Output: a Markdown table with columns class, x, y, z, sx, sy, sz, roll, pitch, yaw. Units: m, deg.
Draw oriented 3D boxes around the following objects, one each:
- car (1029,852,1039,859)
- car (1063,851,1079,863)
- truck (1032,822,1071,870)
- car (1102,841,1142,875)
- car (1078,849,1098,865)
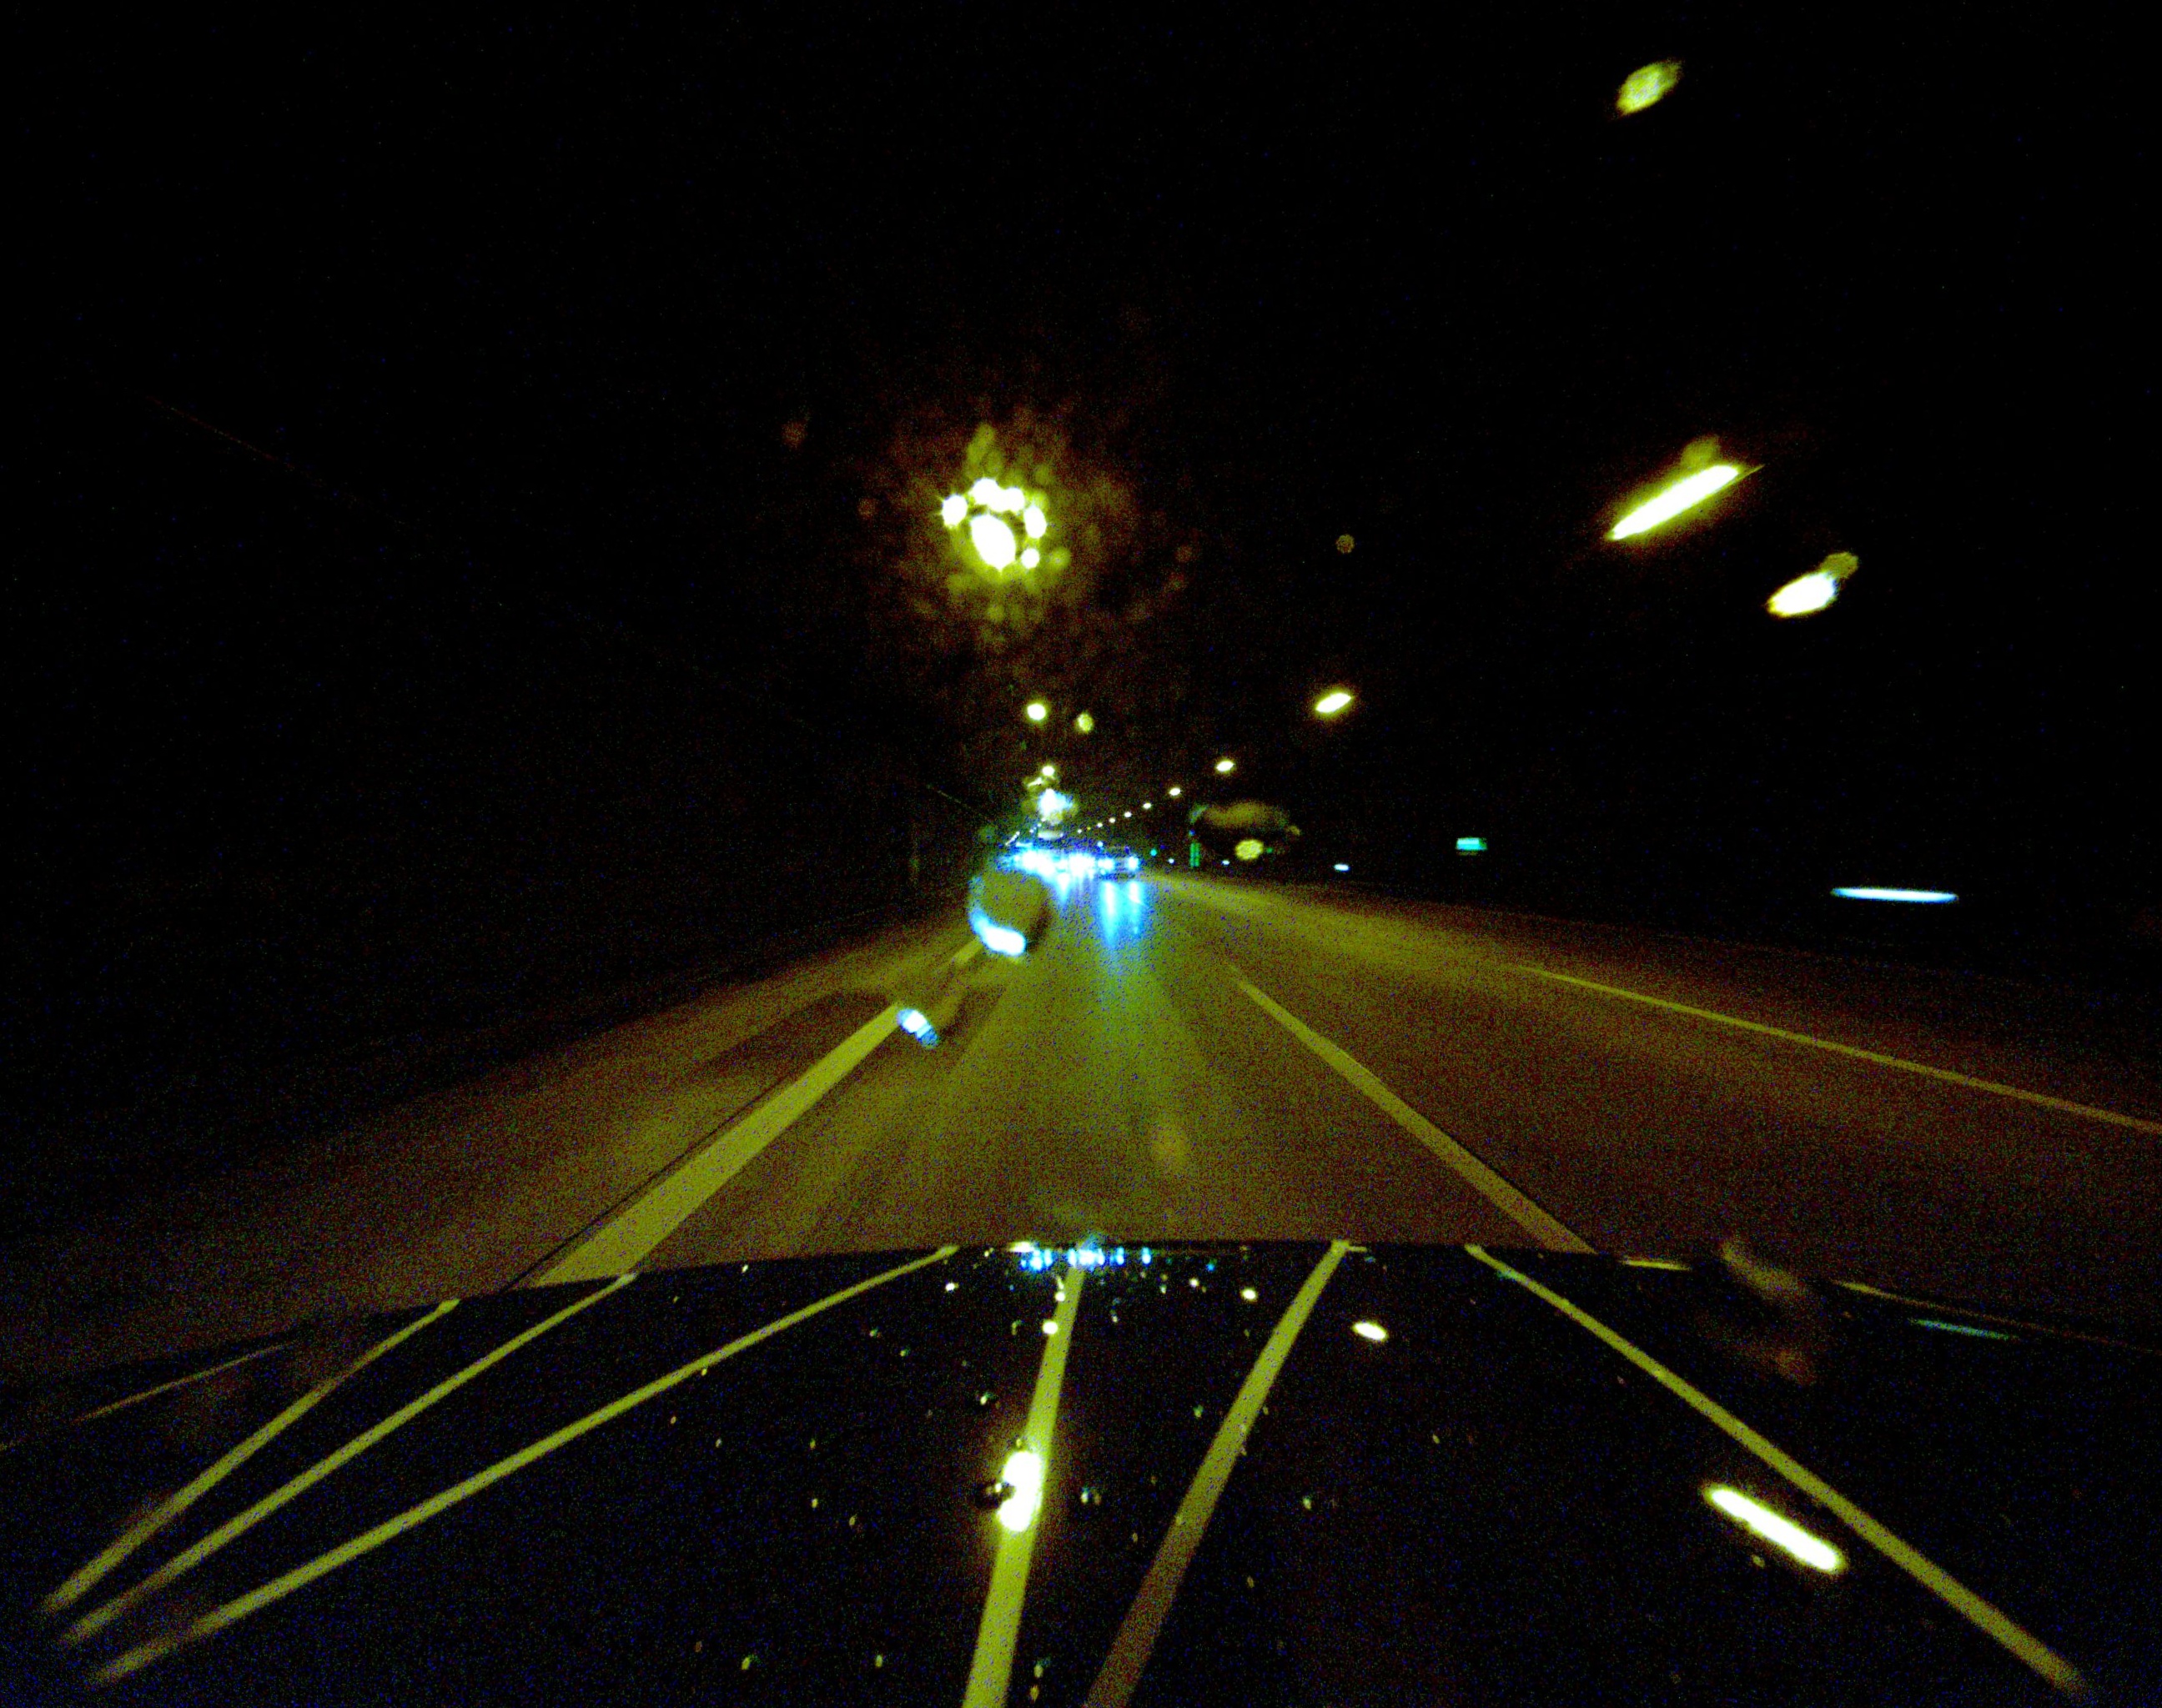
| class | x | y | z | sx | sy | sz | roll | pitch | yaw |
| --- | --- | --- | --- | --- | --- | --- | --- | --- | --- |
| car | -11.078 | 0.357 | 179.946 | 2.000 | 1.729 | 3.997 | -3 | 0 | -8 |
| car | -1.383 | 0.373 | 101.787 | 1.759 | 1.567 | 3.998 | -2 | 0 | -5 |
| truck | -2.815 | -0.734 | 70.368 | 3.143 | 4.136 | 7.384 | -3 | 1 | -5 |
| car | 2.563 | 0.309 | 48.672 | 1.999 | 2.001 | 4.360 | -2 | -1 | -3 |
| car | 0.720 | 0.314 | 80.998 | 1.911 | 1.637 | 3.999 | -2 | 0 | -3 |
